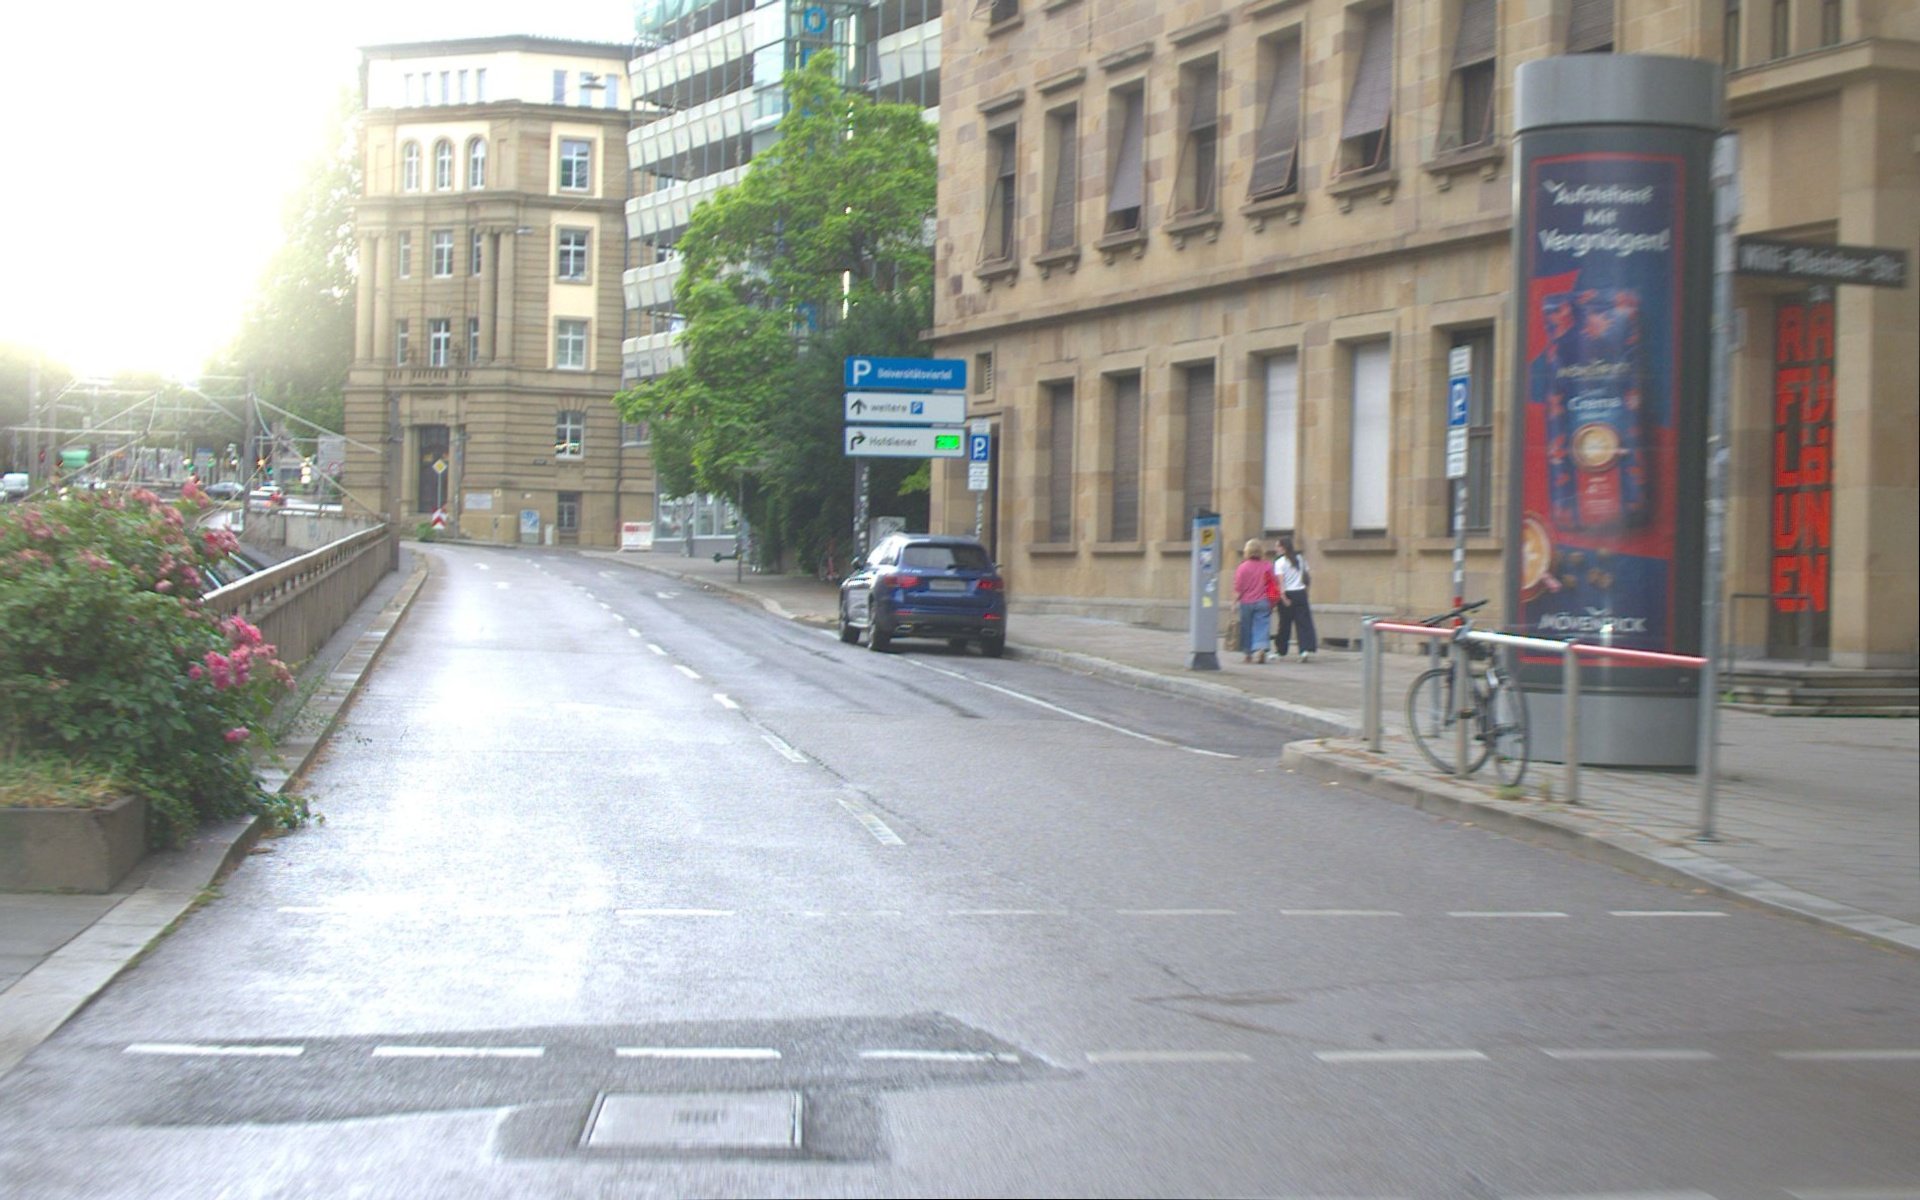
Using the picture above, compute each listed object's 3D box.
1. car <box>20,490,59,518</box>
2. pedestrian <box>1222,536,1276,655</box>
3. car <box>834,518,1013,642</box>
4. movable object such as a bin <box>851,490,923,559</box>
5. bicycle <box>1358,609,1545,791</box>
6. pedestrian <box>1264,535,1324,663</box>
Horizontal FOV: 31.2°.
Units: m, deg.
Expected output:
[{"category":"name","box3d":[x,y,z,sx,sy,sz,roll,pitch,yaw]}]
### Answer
[{"category":"car","box3d":[-53.070,-5.540,198.238,1.993,1.522,3.664,3,1,-14]},{"category":"pedestrian","box3d":[3.658,-0.062,43.571,0.524,1.487,0.674,2,1,-5]},{"category":"car","box3d":[-0.564,-0.298,48.649,1.767,1.614,4.159,2,1,-11]},{"category":"movable object such as a bin","box3d":[-1.410,-1.453,65.944,1.239,1.305,1.234,0,1,-8]},{"category":"bicycle","box3d":[2.992,0.593,21.094,0.489,1.009,1.928,2,1,-11]},{"category":"pedestrian","box3d":[4.253,-0.018,43.813,0.524,1.597,0.674,2,1,-13]}]
